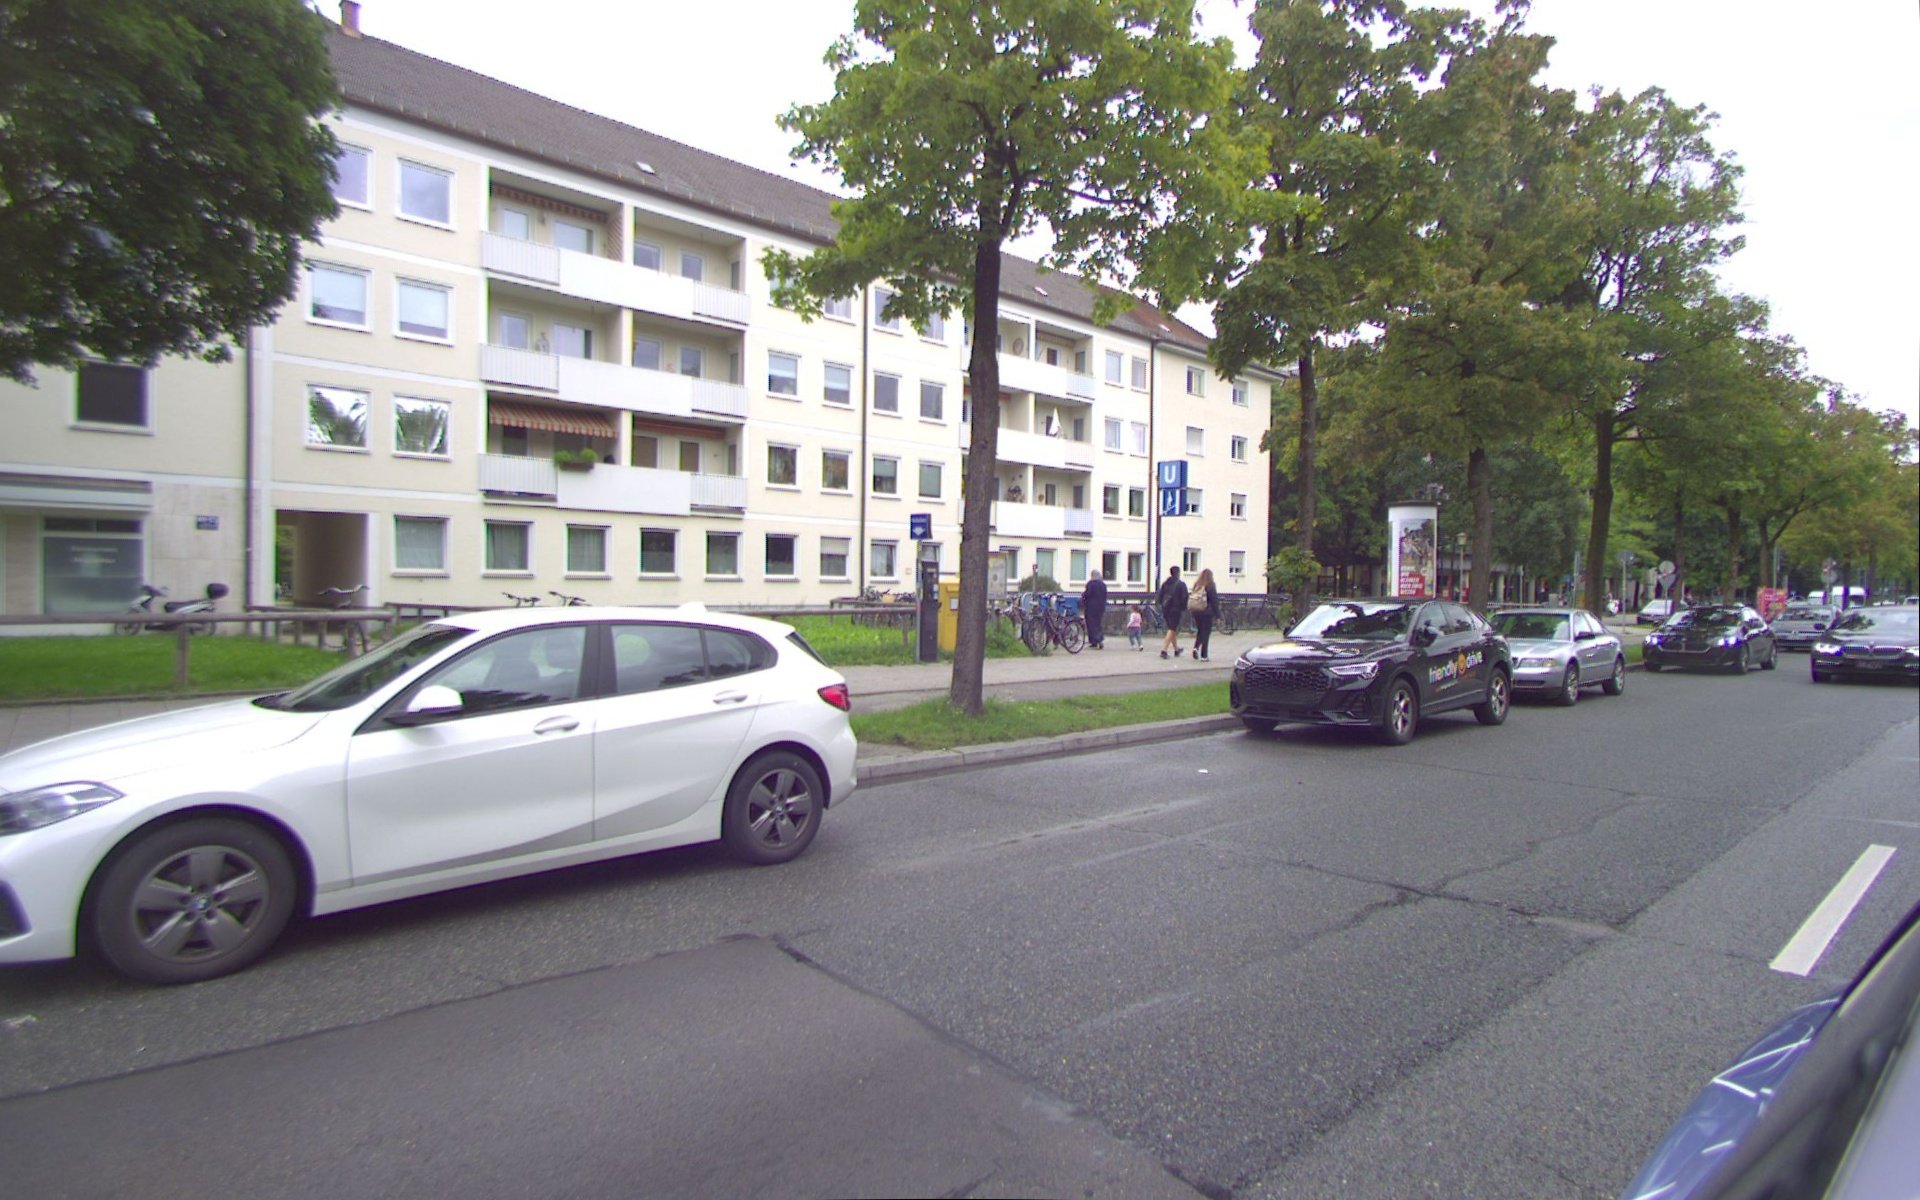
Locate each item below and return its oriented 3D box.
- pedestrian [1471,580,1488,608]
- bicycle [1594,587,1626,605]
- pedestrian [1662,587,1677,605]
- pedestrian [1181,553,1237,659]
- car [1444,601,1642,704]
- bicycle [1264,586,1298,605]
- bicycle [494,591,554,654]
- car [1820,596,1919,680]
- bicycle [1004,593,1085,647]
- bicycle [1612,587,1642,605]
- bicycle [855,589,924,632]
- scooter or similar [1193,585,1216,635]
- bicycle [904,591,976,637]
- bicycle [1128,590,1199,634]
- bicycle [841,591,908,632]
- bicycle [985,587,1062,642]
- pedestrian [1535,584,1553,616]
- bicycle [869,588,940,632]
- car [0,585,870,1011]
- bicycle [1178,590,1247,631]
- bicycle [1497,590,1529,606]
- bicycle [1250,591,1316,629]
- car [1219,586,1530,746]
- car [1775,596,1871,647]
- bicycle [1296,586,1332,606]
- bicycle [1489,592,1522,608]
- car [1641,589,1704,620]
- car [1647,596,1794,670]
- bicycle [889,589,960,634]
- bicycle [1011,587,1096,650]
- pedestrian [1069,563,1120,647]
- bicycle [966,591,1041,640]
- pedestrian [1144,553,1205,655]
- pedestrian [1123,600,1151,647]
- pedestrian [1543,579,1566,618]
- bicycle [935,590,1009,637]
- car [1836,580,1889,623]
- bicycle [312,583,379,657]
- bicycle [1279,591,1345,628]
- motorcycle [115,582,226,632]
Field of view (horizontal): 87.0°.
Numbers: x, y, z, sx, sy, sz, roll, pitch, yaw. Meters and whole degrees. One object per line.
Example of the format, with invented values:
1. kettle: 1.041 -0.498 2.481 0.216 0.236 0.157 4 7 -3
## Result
1. pedestrian: 30.324 -0.365 59.099 0.569 1.594 0.781 0 0 1
2. bicycle: 57.090 -0.369 88.907 0.638 1.551 2.312 1 1 -41
3. pedestrian: 68.423 -0.383 97.567 0.755 1.719 0.875 0 2 -27
4. pedestrian: 4.651 0.096 18.889 0.887 1.913 0.589 0 1 -42
5. car: 9.258 0.721 15.925 4.174 1.403 1.637 0 0 -44
6. bicycle: 16.830 -0.235 53.060 0.448 0.983 1.692 1 1 -44
7. bicycle: -7.282 0.347 16.870 0.425 0.986 1.881 0 0 -39
8. car: 18.249 0.674 19.550 4.586 1.461 1.798 0 -1 -41
9. bicycle: 1.728 0.392 20.481 1.850 1.041 0.432 0 1 -41
10. bicycle: 61.771 -0.363 93.703 2.298 1.643 0.642 1 1 33
11. bicycle: -1.796 0.259 25.858 1.850 1.041 0.432 0 1 -41
12. scooter or similar: 6.265 0.246 25.962 0.352 1.215 1.388 1 2 6
13. bicycle: -0.461 0.321 24.181 1.850 1.041 0.432 0 1 -41
14. bicycle: 5.210 0.298 26.026 0.425 1.041 1.879 0 2 -44
15. bicycle: -2.259 0.298 26.990 1.850 1.041 0.432 0 1 -41
16. bicycle: 1.383 0.302 21.778 1.850 1.115 0.432 0 1 -41
17. pedestrian: 32.060 -0.018 55.590 0.628 1.752 0.602 0 0 -22
18. bicycle: -1.354 0.250 25.010 1.850 1.041 0.432 0 1 -41
19. car: -2.610 0.705 5.351 4.066 1.484 1.684 0 -1 -42
20. bicycle: 6.898 0.276 27.699 0.425 1.041 1.879 0 2 -44
21. bicycle: 41.079 -0.172 75.225 0.447 1.134 2.079 1 1 -41
22. bicycle: 9.586 0.269 30.079 0.425 1.041 1.879 0 2 -44
23. car: 4.984 0.645 11.893 4.201 1.552 1.719 0 0 -41
24. car: 27.094 0.634 31.734 4.042 1.484 1.685 0 0 -40
25. bicycle: 18.093 -0.217 51.799 0.448 0.983 1.692 1 1 -44
26. bicycle: 39.613 -0.028 73.534 0.447 1.134 2.079 1 1 -41
27. car: 40.069 0.238 56.898 4.122 1.654 1.826 0 2 -39
28. car: 16.926 0.673 22.456 4.102 1.484 1.754 0 0 -40
29. bicycle: -0.843 0.266 24.501 1.850 1.041 0.432 0 1 -41
30. bicycle: 1.802 0.351 19.335 1.850 1.147 0.432 1 1 -41
31. pedestrian: 2.807 0.091 21.125 0.824 1.702 0.836 1 1 -9
32. bicycle: 0.980 0.335 22.396 1.850 1.041 0.432 0 1 -41
33. pedestrian: 4.115 0.060 19.434 0.904 1.913 0.730 0 2 -42
34. pedestrian: 3.702 0.479 21.170 0.400 0.961 0.436 1 1 -20
35. pedestrian: 27.445 -0.077 46.697 0.835 1.771 0.640 1 2 -43
36. bicycle: 0.297 0.300 23.172 1.850 1.041 0.432 0 1 -41
37. car: 59.368 0.102 66.524 5.902 2.691 1.976 0 -1 -42
38. bicycle: -8.493 0.247 13.953 0.548 0.951 1.881 0 0 -39
39. bicycle: 10.725 0.266 30.899 1.876 1.041 0.426 3 2 42
40. motorcycle: -17.070 0.144 21.920 1.873 1.036 0.605 0 0 -41
